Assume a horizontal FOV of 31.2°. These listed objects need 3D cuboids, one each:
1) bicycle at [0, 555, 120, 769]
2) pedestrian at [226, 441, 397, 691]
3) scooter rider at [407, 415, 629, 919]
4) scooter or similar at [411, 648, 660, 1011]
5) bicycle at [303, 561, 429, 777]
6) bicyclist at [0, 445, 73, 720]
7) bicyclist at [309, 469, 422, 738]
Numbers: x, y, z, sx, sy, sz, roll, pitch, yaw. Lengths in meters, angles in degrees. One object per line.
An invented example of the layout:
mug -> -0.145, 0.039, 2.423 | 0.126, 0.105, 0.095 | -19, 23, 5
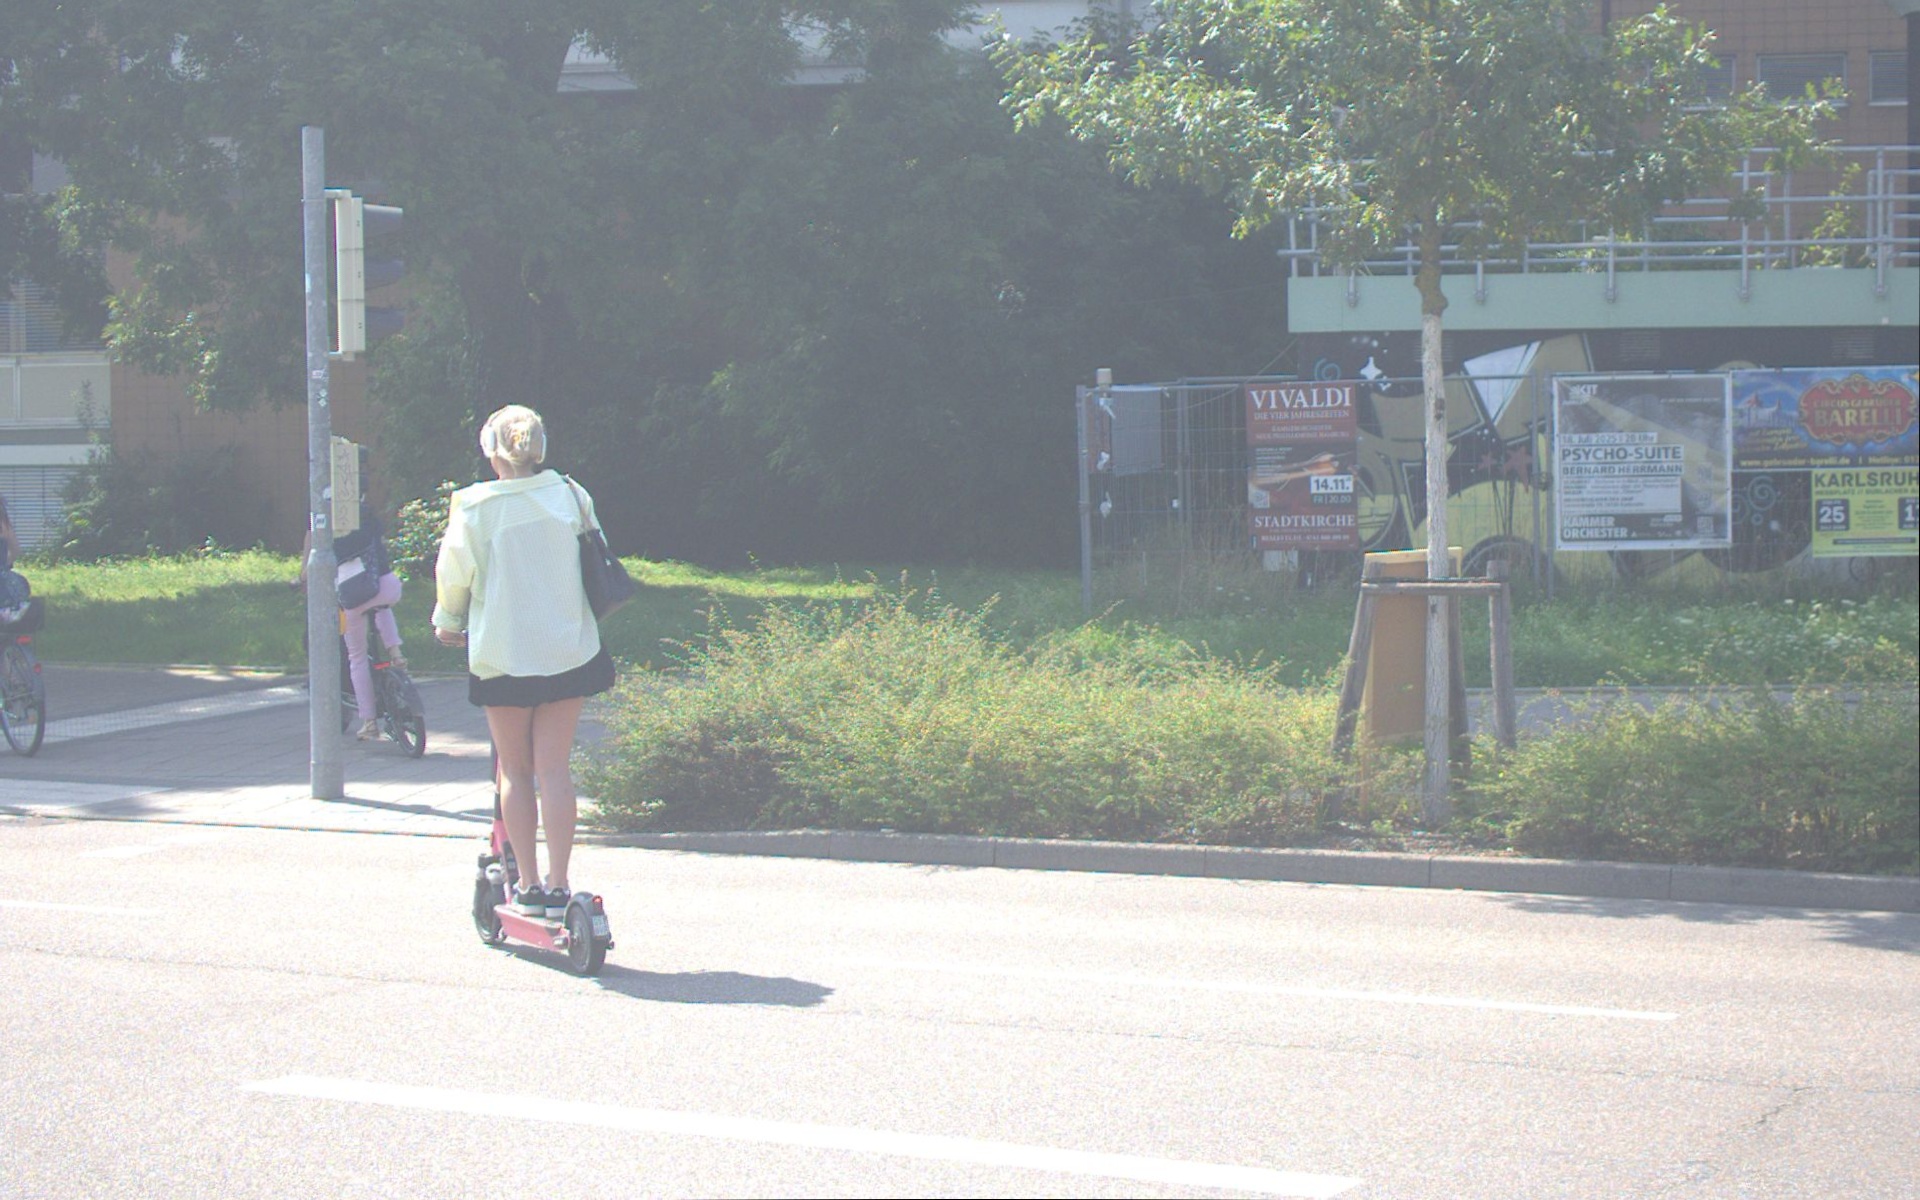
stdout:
bicycle -> -5.960, 0.329, 20.746 | 0.694, 1.150, 2.370 | -4, 5, -41
pedestrian -> -4.558, -0.255, 24.169 | 0.878, 1.698, 0.707 | 1, 4, 30
scooter rider -> -1.535, 0.216, 11.899 | 0.670, 1.693, 0.539 | -1, 1, -15
scooter or similar -> -1.479, 0.727, 11.715 | 0.556, 1.056, 2.005 | -1, 1, -15
bicycle -> -3.436, 0.370, 19.996 | 0.556, 1.056, 2.005 | -2, 4, -6
bicyclist -> -5.857, -0.114, 20.583 | 0.691, 1.593, 0.843 | -5, 5, -40
bicyclist -> -3.424, 0.004, 19.849 | 0.548, 1.491, 0.804 | -1, 3, -6
